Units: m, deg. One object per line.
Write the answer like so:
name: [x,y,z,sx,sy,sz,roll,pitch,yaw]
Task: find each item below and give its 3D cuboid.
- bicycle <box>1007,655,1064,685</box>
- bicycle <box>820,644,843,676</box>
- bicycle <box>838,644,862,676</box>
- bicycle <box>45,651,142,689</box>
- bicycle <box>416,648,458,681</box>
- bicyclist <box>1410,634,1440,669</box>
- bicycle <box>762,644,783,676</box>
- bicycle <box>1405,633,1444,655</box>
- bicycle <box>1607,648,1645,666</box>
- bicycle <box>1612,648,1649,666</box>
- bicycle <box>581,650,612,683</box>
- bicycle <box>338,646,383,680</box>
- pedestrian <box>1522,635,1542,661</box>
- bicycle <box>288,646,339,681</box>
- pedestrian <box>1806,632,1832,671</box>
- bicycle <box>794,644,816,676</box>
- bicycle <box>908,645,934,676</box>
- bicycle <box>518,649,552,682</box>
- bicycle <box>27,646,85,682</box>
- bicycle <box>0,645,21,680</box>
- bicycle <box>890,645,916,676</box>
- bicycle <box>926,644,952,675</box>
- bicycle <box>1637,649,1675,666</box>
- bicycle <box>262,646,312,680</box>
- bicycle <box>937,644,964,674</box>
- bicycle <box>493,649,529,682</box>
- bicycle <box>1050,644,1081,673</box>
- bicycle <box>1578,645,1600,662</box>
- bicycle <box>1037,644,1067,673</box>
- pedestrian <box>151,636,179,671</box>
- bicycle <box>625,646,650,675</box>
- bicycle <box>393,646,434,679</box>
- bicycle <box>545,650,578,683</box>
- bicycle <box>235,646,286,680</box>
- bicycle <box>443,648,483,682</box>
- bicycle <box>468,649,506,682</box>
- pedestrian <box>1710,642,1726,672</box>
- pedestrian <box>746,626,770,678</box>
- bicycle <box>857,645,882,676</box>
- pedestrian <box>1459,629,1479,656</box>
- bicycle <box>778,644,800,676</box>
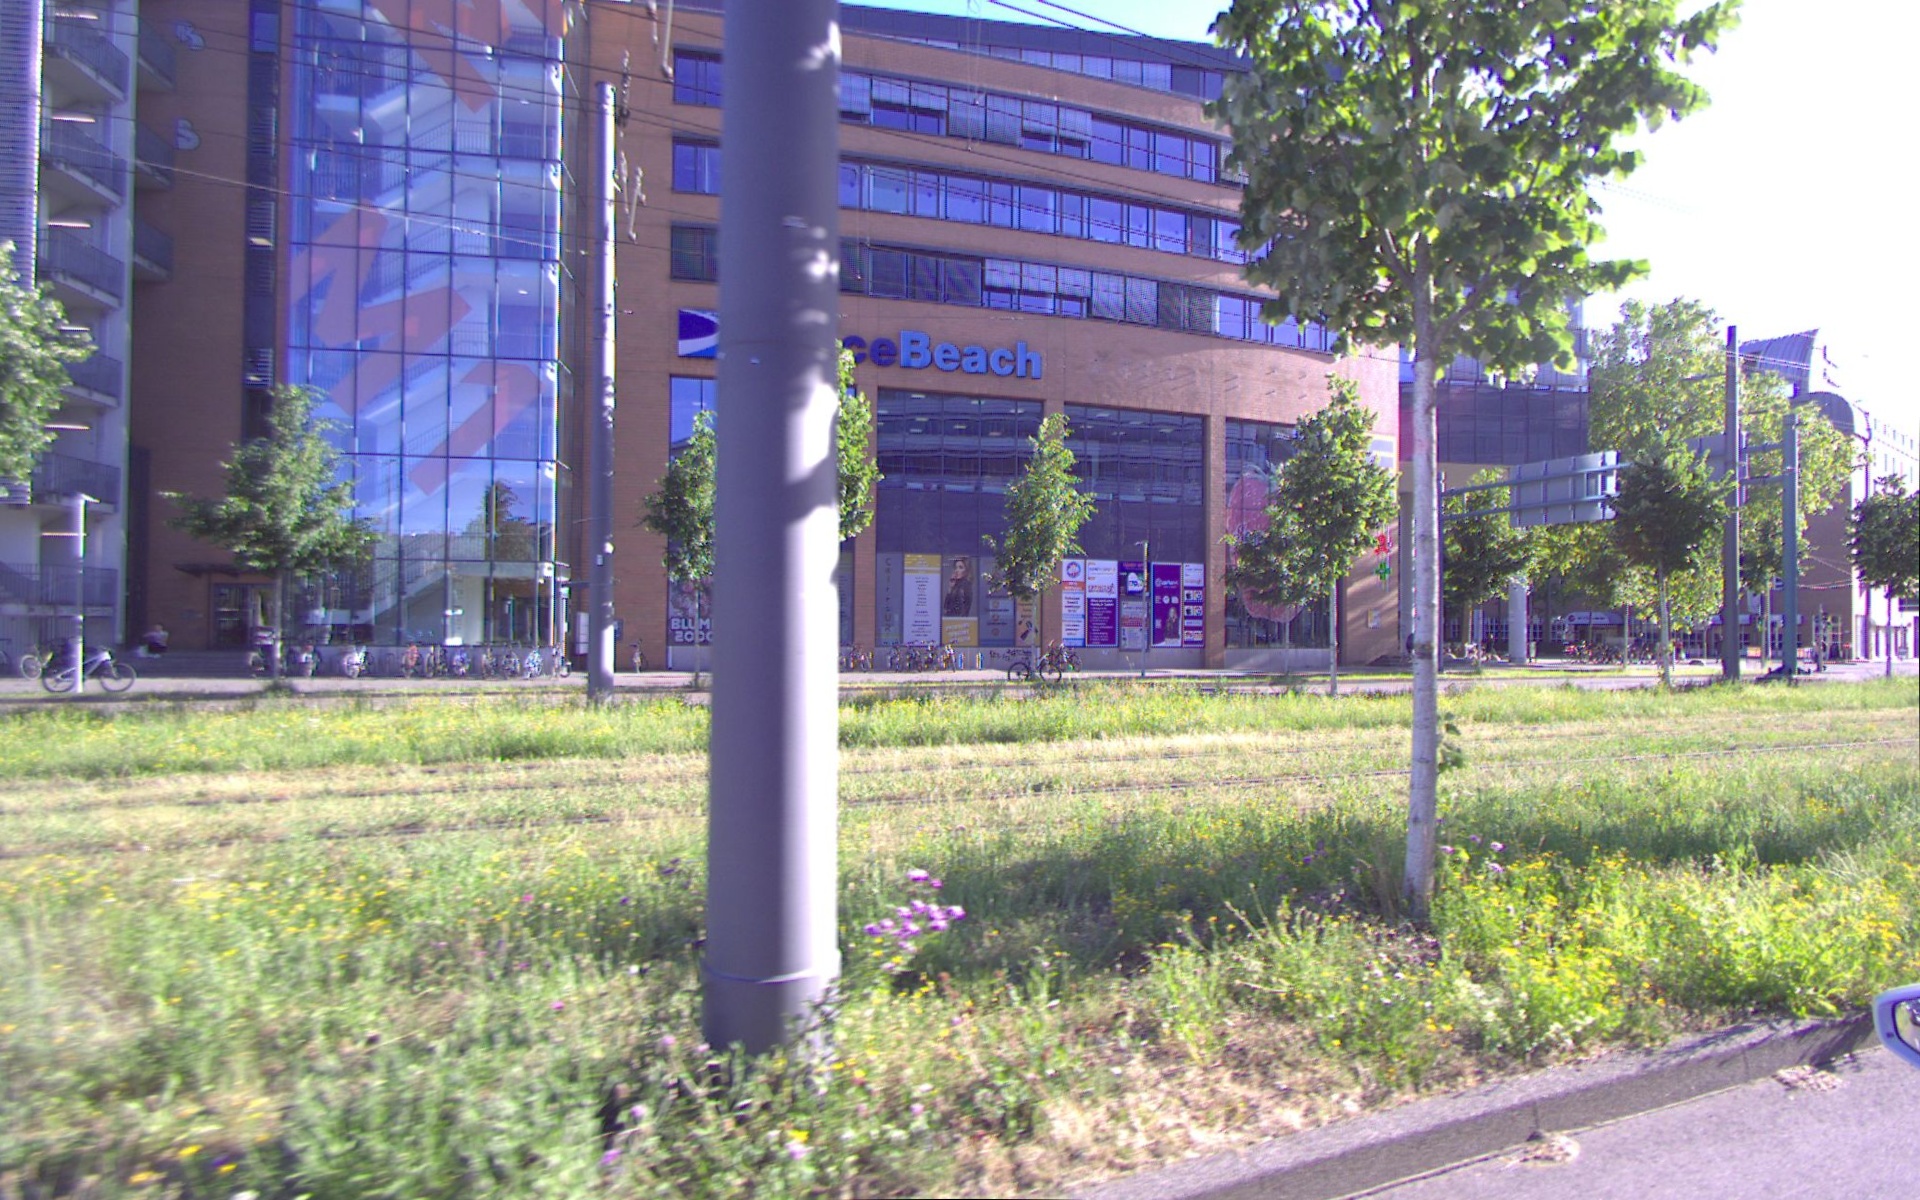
bicycle: [2.328,2.127,30.715,1.748,0.880,0.461,1,-2,-26]
bicycle: [-4.548,2.114,35.557,0.483,1.063,1.764,1,-2,-18]
bicycle: [-3.922,2.130,35.816,0.483,1.063,1.764,1,-2,-18]
bicycle: [-20.678,1.678,23.984,1.741,0.880,0.385,1,-1,-14]
bicycle: [-15.634,1.921,30.075,0.554,0.938,1.769,1,-2,-9]
bicyclist: [19.802,2.198,42.782,1.004,1.484,0.675,1,-2,-29]
bicycle: [-6.506,2.062,34.815,0.483,1.063,1.764,1,-2,-18]
bicycle: [19.765,1.865,42.761,1.865,0.922,0.496,1,-2,-29]
bicycle: [38.022,3.227,57.354,0.537,0.964,1.751,2,-2,-40]
bicycle: [38.716,3.295,58.045,1.744,0.964,0.539,-1,-2,38]
bicycle: [-11.159,2.029,30.845,0.554,0.938,1.769,1,-2,-9]
bicycle: [-17.662,1.846,29.621,0.482,0.938,1.769,1,-2,-9]
pedestrian: [36.080,3.045,63.361,0.825,1.619,0.731,1,0,-21]
bicycle: [-18.874,1.841,29.353,0.554,0.938,1.769,1,-2,-9]
pedestrian: [45.158,2.702,52.813,0.825,2.040,0.731,1,0,-21]
bicycle: [-5.429,2.090,35.204,0.483,1.063,1.764,1,-2,-18]
bicycle: [-1.444,2.195,36.643,0.483,1.063,1.764,1,-2,-18]
bicycle: [-12.924,1.987,30.585,0.554,0.938,1.769,1,-2,-9]
bicycle: [-24.724,1.739,27.497,0.454,0.938,1.398,1,-2,-9]
bicycle: [-26.065,1.694,27.017,0.454,0.938,1.398,1,-2,-9]
bicycle: [-2.068,2.178,36.413,0.483,1.063,1.764,1,-2,-18]
bicycle: [-0.791,2.179,36.926,0.483,1.063,1.764,1,-2,-18]
bicycle: [40.585,3.344,58.578,0.535,0.964,1.756,1,-2,-32]
bicycle: [-19.563,1.824,29.227,0.482,0.938,1.769,1,-2,-9]
bicycle: [-0.357,2.195,37.535,0.483,1.063,1.764,1,-2,-18]
bicycle: [-13.606,1.970,30.464,0.554,0.938,1.769,1,-2,-9]
bicycle: [4.047,2.239,38.641,0.483,1.063,1.764,1,-2,-18]
bicycle: [37.193,3.173,59.408,0.530,0.964,1.773,0,-2,11]
bicycle: [3.506,2.225,38.444,0.483,1.063,1.764,1,-2,-18]
pedestrian: [-24.549,1.651,31.026,0.441,1.068,0.628,1,-1,-13]
bicycle: [-11.012,2.069,34.328,0.554,0.938,1.769,1,-2,-9]
bicycle: [-16.298,1.852,29.978,0.482,0.938,1.769,1,-2,-9]
bicycle: [-12.155,2.005,30.686,0.554,0.938,1.769,1,-2,-9]
bicycle: [-20.226,1.808,29.086,0.482,0.938,1.769,1,-2,-9]
bicycle: [-14.920,1.938,30.207,0.554,0.938,1.769,1,-2,-9]
bicycle: [-14.265,1.954,30.322,0.554,0.938,1.769,1,-2,-9]
pedestrian: [50.936,3.823,67.497,0.668,2.040,0.664,1,-2,-25]
pedestrian: [-6.673,1.713,33.244,0.665,1.690,0.744,1,-1,-20]
bicycle: [-3.254,2.148,36.030,0.483,1.063,1.764,1,-2,-18]
pedestrian: [32.470,2.700,64.070,0.825,1.667,0.731,1,-2,-21]
bicycle: [-5.979,2.076,35.046,0.483,1.063,1.764,1,-2,-18]
